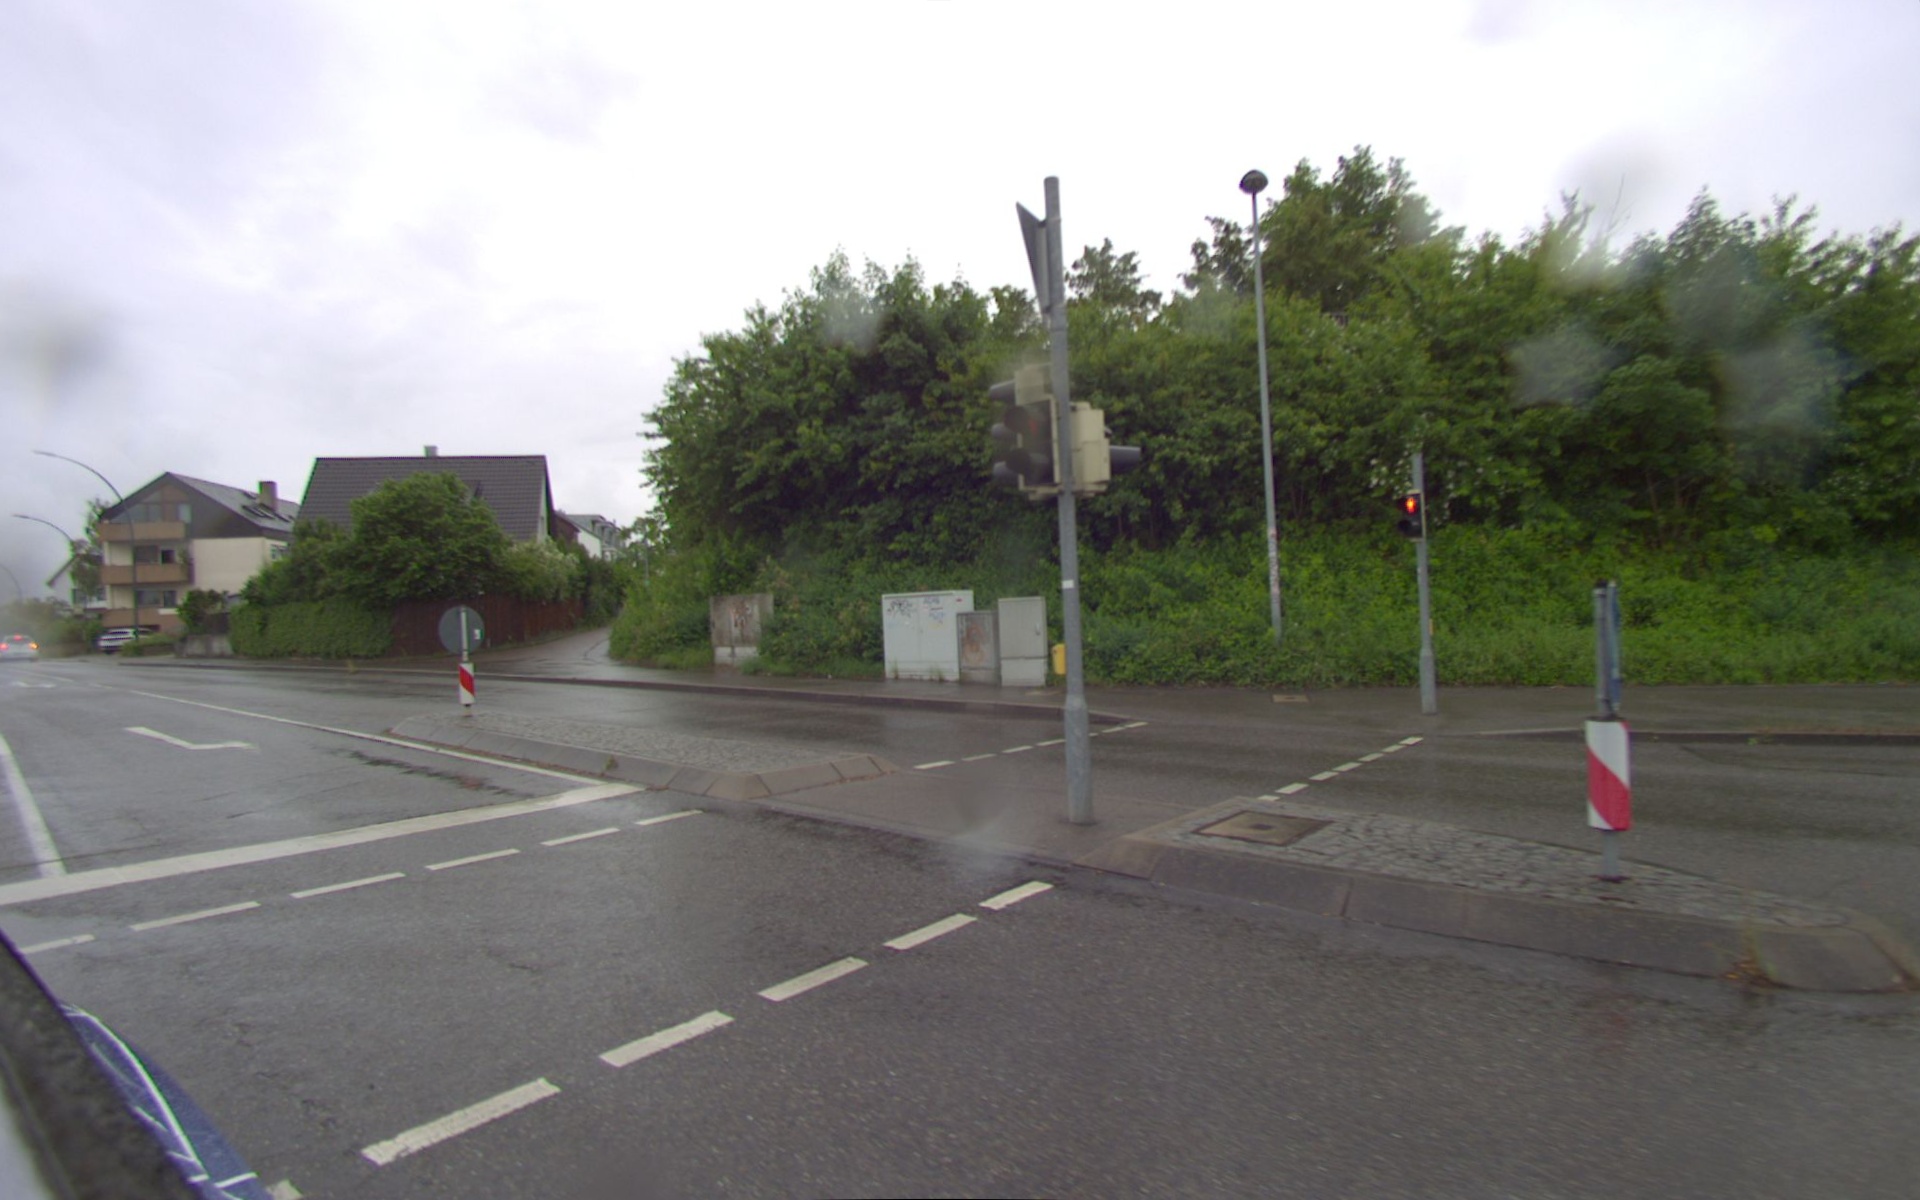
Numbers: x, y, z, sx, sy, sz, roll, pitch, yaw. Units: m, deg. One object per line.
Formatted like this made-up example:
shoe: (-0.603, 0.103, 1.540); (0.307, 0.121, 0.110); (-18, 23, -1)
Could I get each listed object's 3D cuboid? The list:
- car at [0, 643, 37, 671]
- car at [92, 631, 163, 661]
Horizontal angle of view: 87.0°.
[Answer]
car: (-55.481, 3.308, 59.252); (3.818, 1.516, 1.604); (-2, -2, 39)
car: (-50.227, 2.746, 61.143); (1.639, 1.558, 4.009); (-1, 0, -11)
